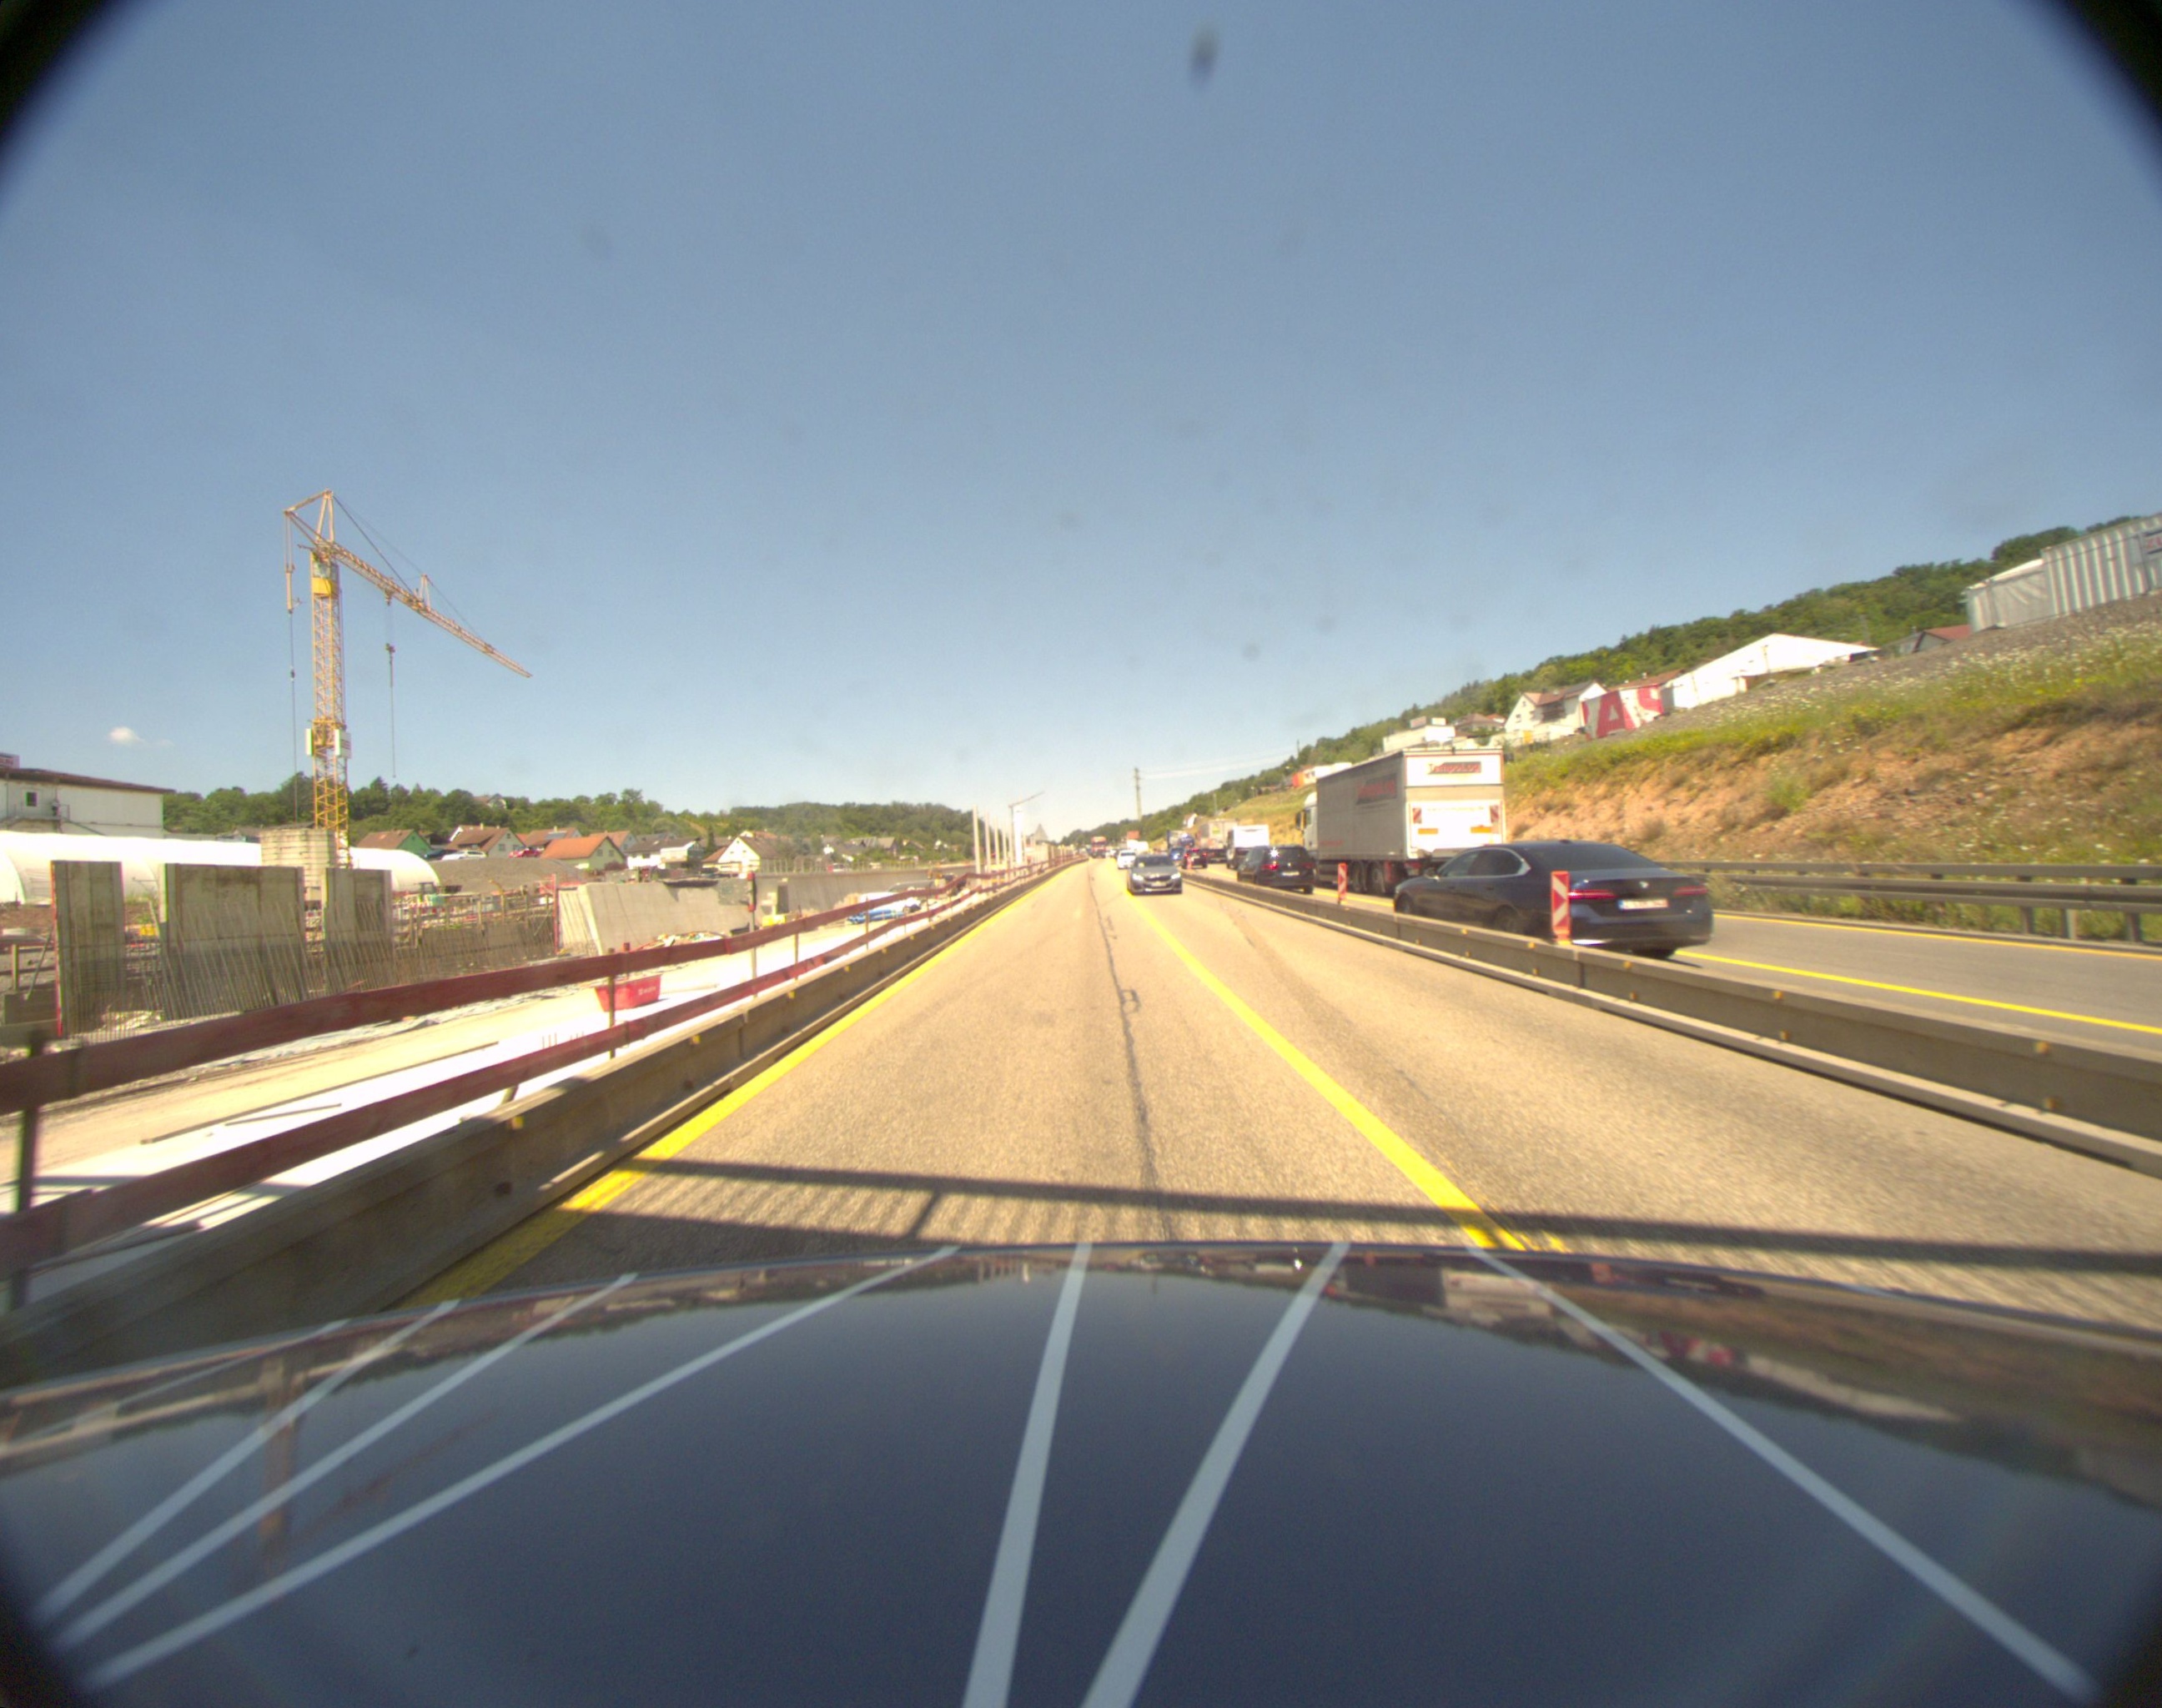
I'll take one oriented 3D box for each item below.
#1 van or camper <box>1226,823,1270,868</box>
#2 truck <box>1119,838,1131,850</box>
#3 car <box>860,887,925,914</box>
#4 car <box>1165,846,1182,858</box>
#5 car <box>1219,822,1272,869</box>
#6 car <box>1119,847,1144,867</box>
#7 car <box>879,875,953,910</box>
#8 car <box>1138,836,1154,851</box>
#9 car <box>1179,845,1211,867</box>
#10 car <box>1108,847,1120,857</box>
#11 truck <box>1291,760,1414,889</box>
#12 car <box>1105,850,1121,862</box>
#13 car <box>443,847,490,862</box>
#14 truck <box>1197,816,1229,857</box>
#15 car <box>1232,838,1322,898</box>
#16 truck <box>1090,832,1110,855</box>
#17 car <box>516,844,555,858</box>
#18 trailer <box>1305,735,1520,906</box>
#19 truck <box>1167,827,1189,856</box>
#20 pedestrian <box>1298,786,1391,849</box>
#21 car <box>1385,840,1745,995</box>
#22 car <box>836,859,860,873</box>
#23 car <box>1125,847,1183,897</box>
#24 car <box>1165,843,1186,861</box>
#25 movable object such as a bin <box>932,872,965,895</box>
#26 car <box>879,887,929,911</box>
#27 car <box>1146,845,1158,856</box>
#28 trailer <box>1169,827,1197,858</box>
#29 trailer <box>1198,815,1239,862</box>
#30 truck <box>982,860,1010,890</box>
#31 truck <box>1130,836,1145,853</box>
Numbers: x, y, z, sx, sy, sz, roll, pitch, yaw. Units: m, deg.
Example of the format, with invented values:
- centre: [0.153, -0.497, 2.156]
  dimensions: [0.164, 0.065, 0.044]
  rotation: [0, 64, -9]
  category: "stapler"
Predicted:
- centre: [10.872, -0.548, 49.919]
  dimensions: [2.128, 2.689, 6.457]
  rotation: [-1, 1, 7]
  category: "van or camper"
- centre: [14.480, -3.333, 250.591]
  dimensions: [3.148, 4.024, 10.209]
  rotation: [-2, 1, 1]
  category: "truck"
- centre: [-15.513, 3.843, 62.680]
  dimensions: [4.801, 1.758, 1.720]
  rotation: [-4, 0, 1]
  category: "car"
- centre: [11.421, -0.293, 93.972]
  dimensions: [1.838, 1.421, 4.535]
  rotation: [-2, 1, 3]
  category: "car"
- centre: [10.671, -0.586, 49.878]
  dimensions: [2.280, 2.805, 6.558]
  rotation: [-2, 1, 3]
  category: "car"
- centre: [4.092, 0.227, 61.756]
  dimensions: [1.838, 1.465, 4.389]
  rotation: [-2, 1, 2]
  category: "car"
- centre: [-15.066, 3.482, 69.575]
  dimensions: [6.308, 2.566, 2.053]
  rotation: [-6, 0, -12]
  category: "car"
- centre: [11.518, -1.821, 134.679]
  dimensions: [2.211, 2.614, 6.627]
  rotation: [-2, 1, 0]
  category: "car"
- centre: [8.247, 0.148, 55.263]
  dimensions: [1.758, 1.509, 4.186]
  rotation: [-2, 0, 2]
  category: "car"
- centre: [5.444, -0.260, 125.665]
  dimensions: [1.801, 1.542, 4.000]
  rotation: [-3, -1, -1]
  category: "car"
- centre: [9.514, -0.998, 27.082]
  dimensions: [2.805, 4.126, 4.072]
  rotation: [-3, 1, 0]
  category: "truck"
- centre: [4.214, 0.263, 101.137]
  dimensions: [1.801, 1.542, 4.000]
  rotation: [-3, -1, -1]
  category: "car"
- centre: [-68.557, 0.016, 84.828]
  dimensions: [1.729, 1.477, 4.214]
  rotation: [-2, 1, 1]
  category: "car"
- centre: [13.077, -1.714, 75.598]
  dimensions: [2.590, 3.807, 5.382]
  rotation: [-2, 1, 6]
  category: "truck"
- centre: [6.476, 0.403, 25.627]
  dimensions: [1.860, 1.746, 4.608]
  rotation: [-2, 1, 1]
  category: "car"
- centre: [3.614, -1.989, 144.736]
  dimensions: [3.463, 4.024, 10.209]
  rotation: [-2, 1, 1]
  category: "truck"
- centre: [-59.616, -0.341, 83.098]
  dimensions: [1.545, 1.477, 3.606]
  rotation: [-2, 1, 1]
  category: "car"
- centre: [9.529, -0.918, 23.177]
  dimensions: [2.820, 4.150, 8.241]
  rotation: [-3, 1, 0]
  category: "trailer"
- centre: [13.914, -1.779, 109.513]
  dimensions: [2.588, 3.954, 4.588]
  rotation: [-2, 1, 2]
  category: "truck"
- centre: [9.351, -1.260, 27.292]
  dimensions: [1.998, 2.002, 3.999]
  rotation: [-2, 1, 2]
  category: "pedestrian"
- centre: [5.992, 0.622, 10.289]
  dimensions: [1.860, 1.519, 4.772]
  rotation: [-2, 1, 1]
  category: "car"
- centre: [-31.600, 1.577, 103.076]
  dimensions: [1.658, 1.594, 4.605]
  rotation: [-2, 1, 0]
  category: "car"
- centre: [2.592, 0.593, 27.919]
  dimensions: [1.838, 1.588, 4.389]
  rotation: [-2, 1, 2]
  category: "car"
- centre: [9.666, -0.215, 77.514]
  dimensions: [1.837, 1.654, 4.686]
  rotation: [-2, 2, 10]
  category: "car"
- centre: [-17.926, 3.950, 103.198]
  dimensions: [3.266, 2.769, 4.001]
  rotation: [-2, 1, 7]
  category: "movable object such as a bin"
- centre: [-15.324, 3.862, 65.791]
  dimensions: [3.870, 1.676, 1.692]
  rotation: [-4, 1, -4]
  category: "car"
- centre: [10.752, -0.509, 115.085]
  dimensions: [1.837, 1.510, 4.844]
  rotation: [-2, 1, 5]
  category: "car"
- centre: [13.704, -1.587, 103.036]
  dimensions: [2.606, 3.848, 11.272]
  rotation: [-2, 1, 2]
  category: "trailer"
- centre: [12.413, -1.440, 69.411]
  dimensions: [2.661, 3.794, 11.823]
  rotation: [-2, 1, 6]
  category: "trailer"
- centre: [-10.287, 2.489, 92.176]
  dimensions: [2.504, 3.385, 5.435]
  rotation: [-2, 1, 1]
  category: "truck"
- centre: [14.541, -2.546, 197.642]
  dimensions: [3.115, 4.024, 13.155]
  rotation: [-2, 1, 1]
  category: "truck"
